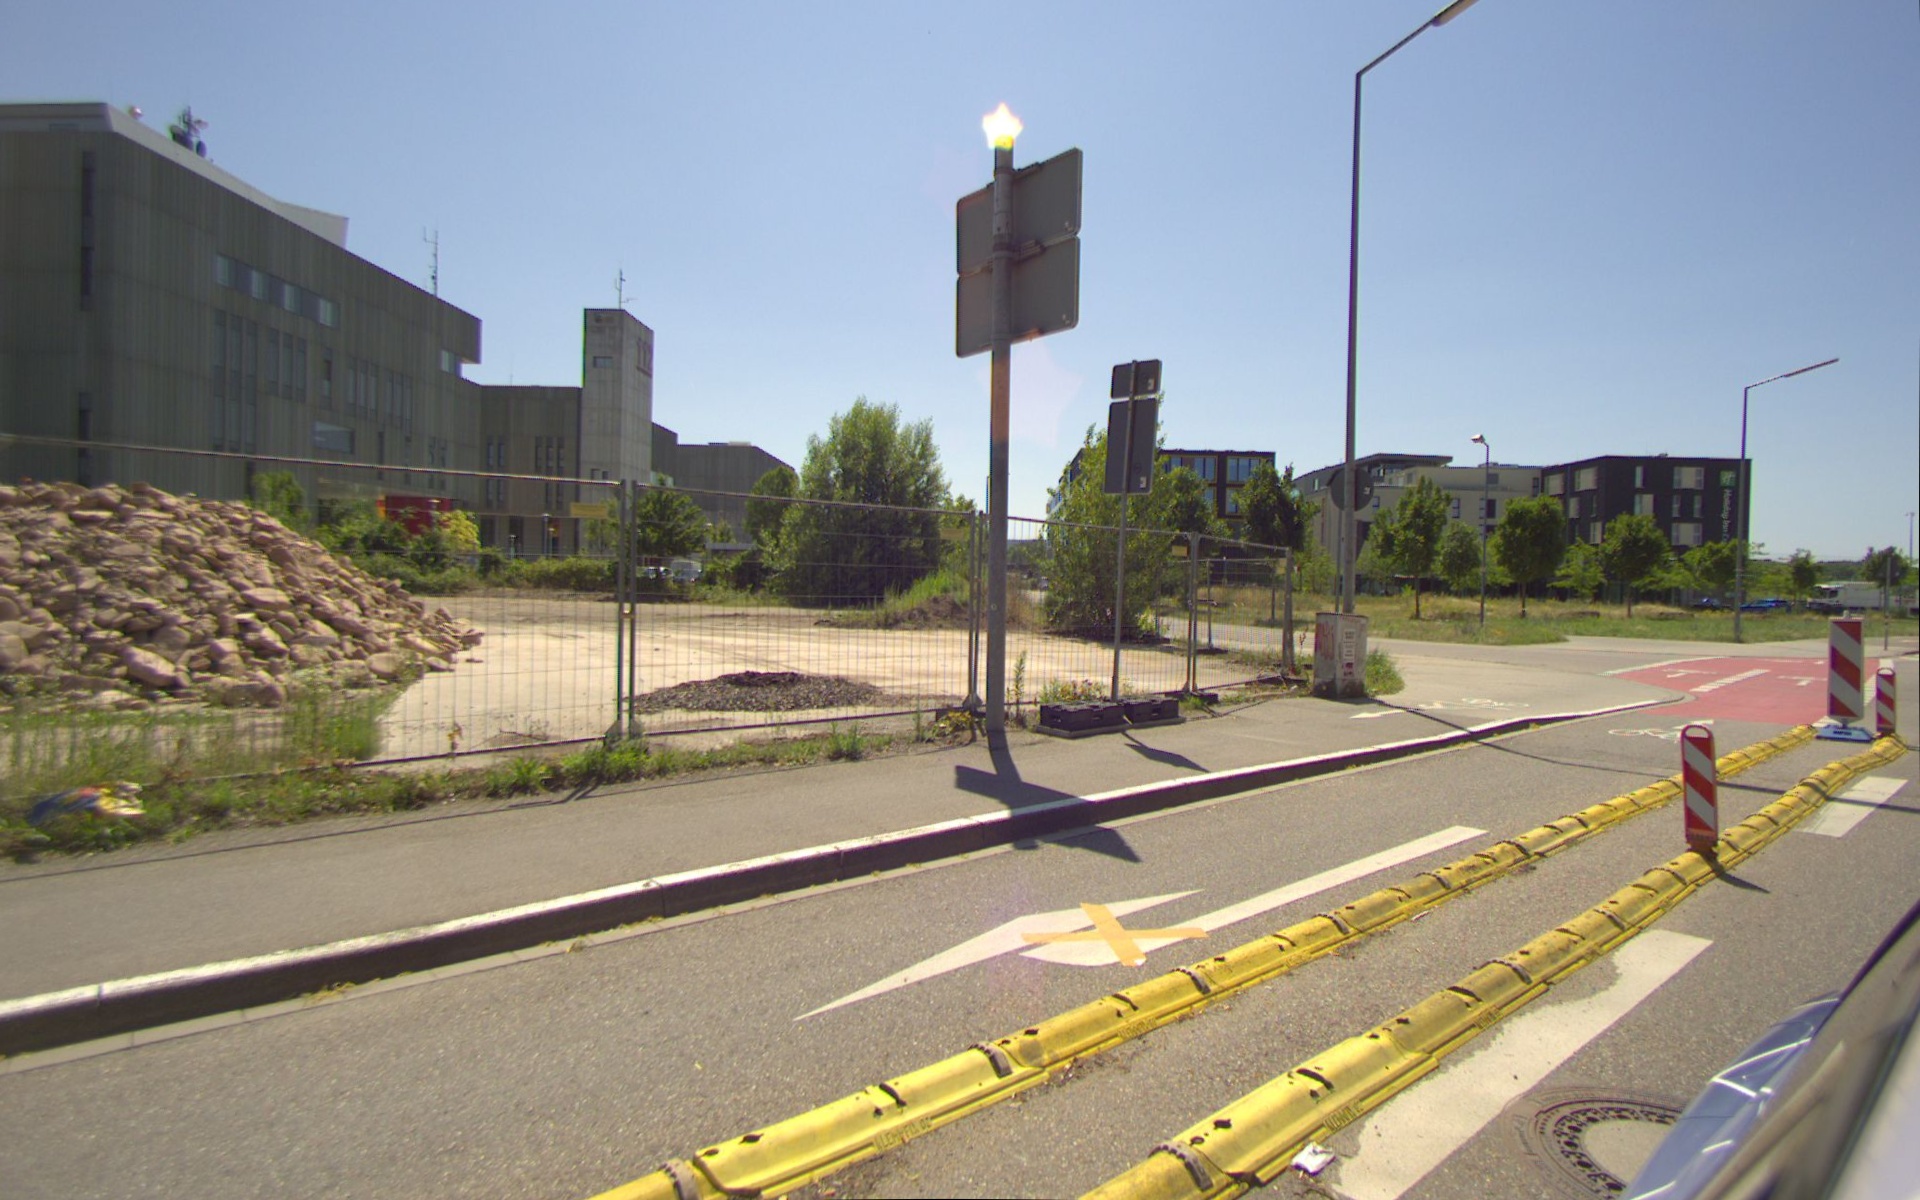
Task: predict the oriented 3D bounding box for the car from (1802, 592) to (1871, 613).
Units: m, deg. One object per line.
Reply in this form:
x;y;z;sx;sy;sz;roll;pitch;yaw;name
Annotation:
75.842;0.210;87.616;1.993;1.581;4.509;2;1;0;car

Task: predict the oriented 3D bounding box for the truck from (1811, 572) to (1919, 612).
90.135;-0.703;98.218;11.920;3.503;3.017;2;3;4;truck

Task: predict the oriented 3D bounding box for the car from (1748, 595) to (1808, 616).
71.295;0.490;88.330;1.918;1.672;4.071;2;1;1;car

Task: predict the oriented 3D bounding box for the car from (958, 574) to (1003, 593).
2.405;-1.909;116.874;5.067;2.142;2.235;1;1;3;car

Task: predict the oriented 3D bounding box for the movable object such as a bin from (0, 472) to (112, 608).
-27.210;-1.551;24.367;10.289;3.300;4.947;0;2;-42;movable object such as a bin

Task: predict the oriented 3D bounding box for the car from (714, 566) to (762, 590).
-14.454;-1.467;66.075;1.962;1.454;5.080;2;2;1;car
